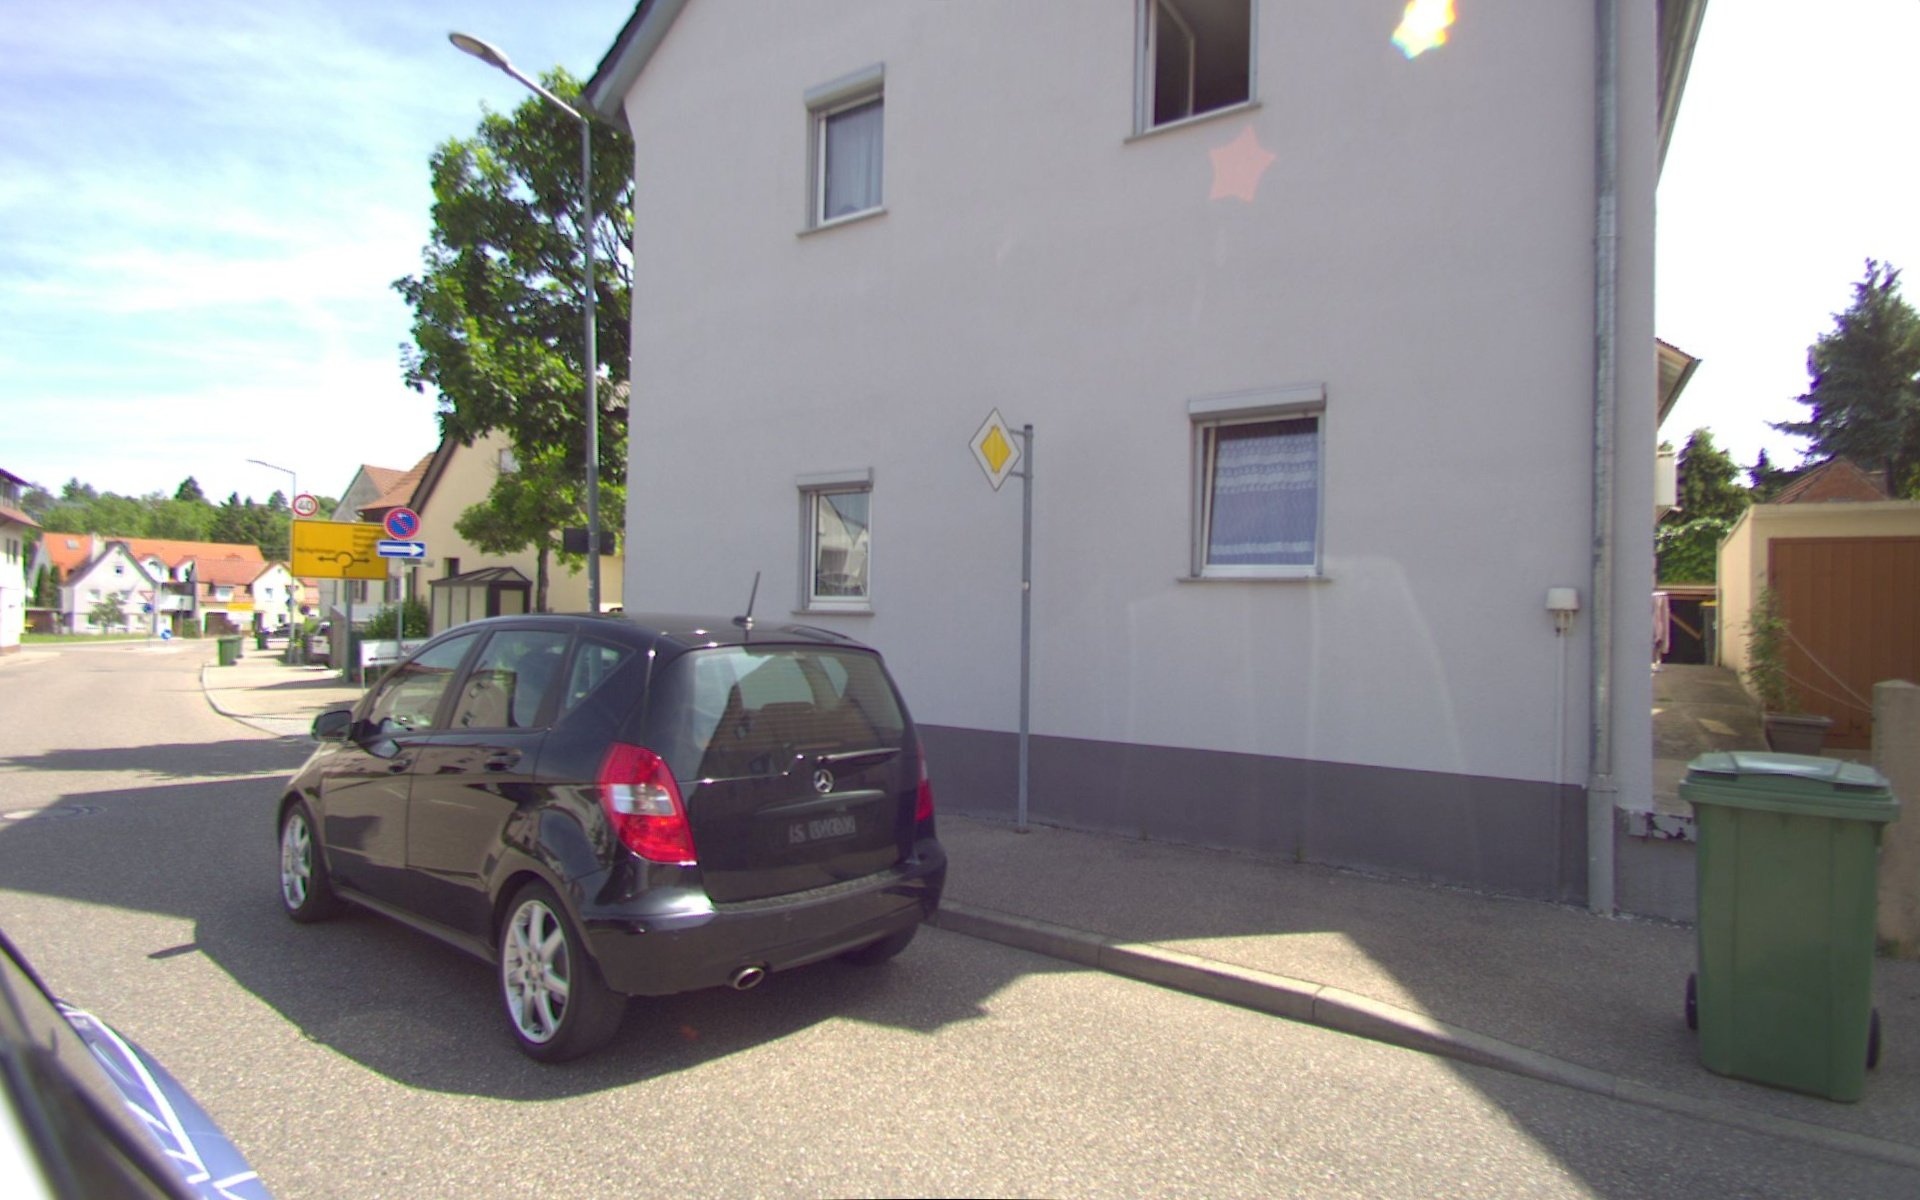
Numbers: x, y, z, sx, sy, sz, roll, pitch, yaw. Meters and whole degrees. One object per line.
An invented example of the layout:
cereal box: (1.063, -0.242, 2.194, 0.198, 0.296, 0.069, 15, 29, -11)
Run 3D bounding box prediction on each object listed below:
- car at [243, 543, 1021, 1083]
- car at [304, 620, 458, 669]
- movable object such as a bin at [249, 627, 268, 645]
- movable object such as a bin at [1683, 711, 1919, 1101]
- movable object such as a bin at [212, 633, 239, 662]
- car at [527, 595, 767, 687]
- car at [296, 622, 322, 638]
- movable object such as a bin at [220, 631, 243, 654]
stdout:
car: (-1.851, 0.691, 4.978, 4.068, 1.567, 1.781, -2, -3, 41)
car: (-20.494, 1.528, 35.968, 1.999, 1.635, 4.356, 0, -1, 41)
movable object such as a bin: (-42.568, 2.187, 61.410, 0.797, 1.053, 0.829, 0, -1, -26)
movable object such as a bin: (2.910, 0.952, 3.419, 0.679, 1.068, 0.746, -2, -2, 41)
movable object such as a bin: (-27.598, 1.772, 38.047, 0.815, 1.085, 0.820, 0, -2, -36)
car: (-7.195, 0.918, 23.760, 2.173, 1.911, 5.056, -1, -2, 38)
car: (-59.334, 2.722, 92.330, 1.928, 1.497, 4.471, 1, -2, -32)
movable object such as a bin: (-33.888, 1.978, 47.086, 0.781, 1.065, 0.652, 2, -2, -40)
